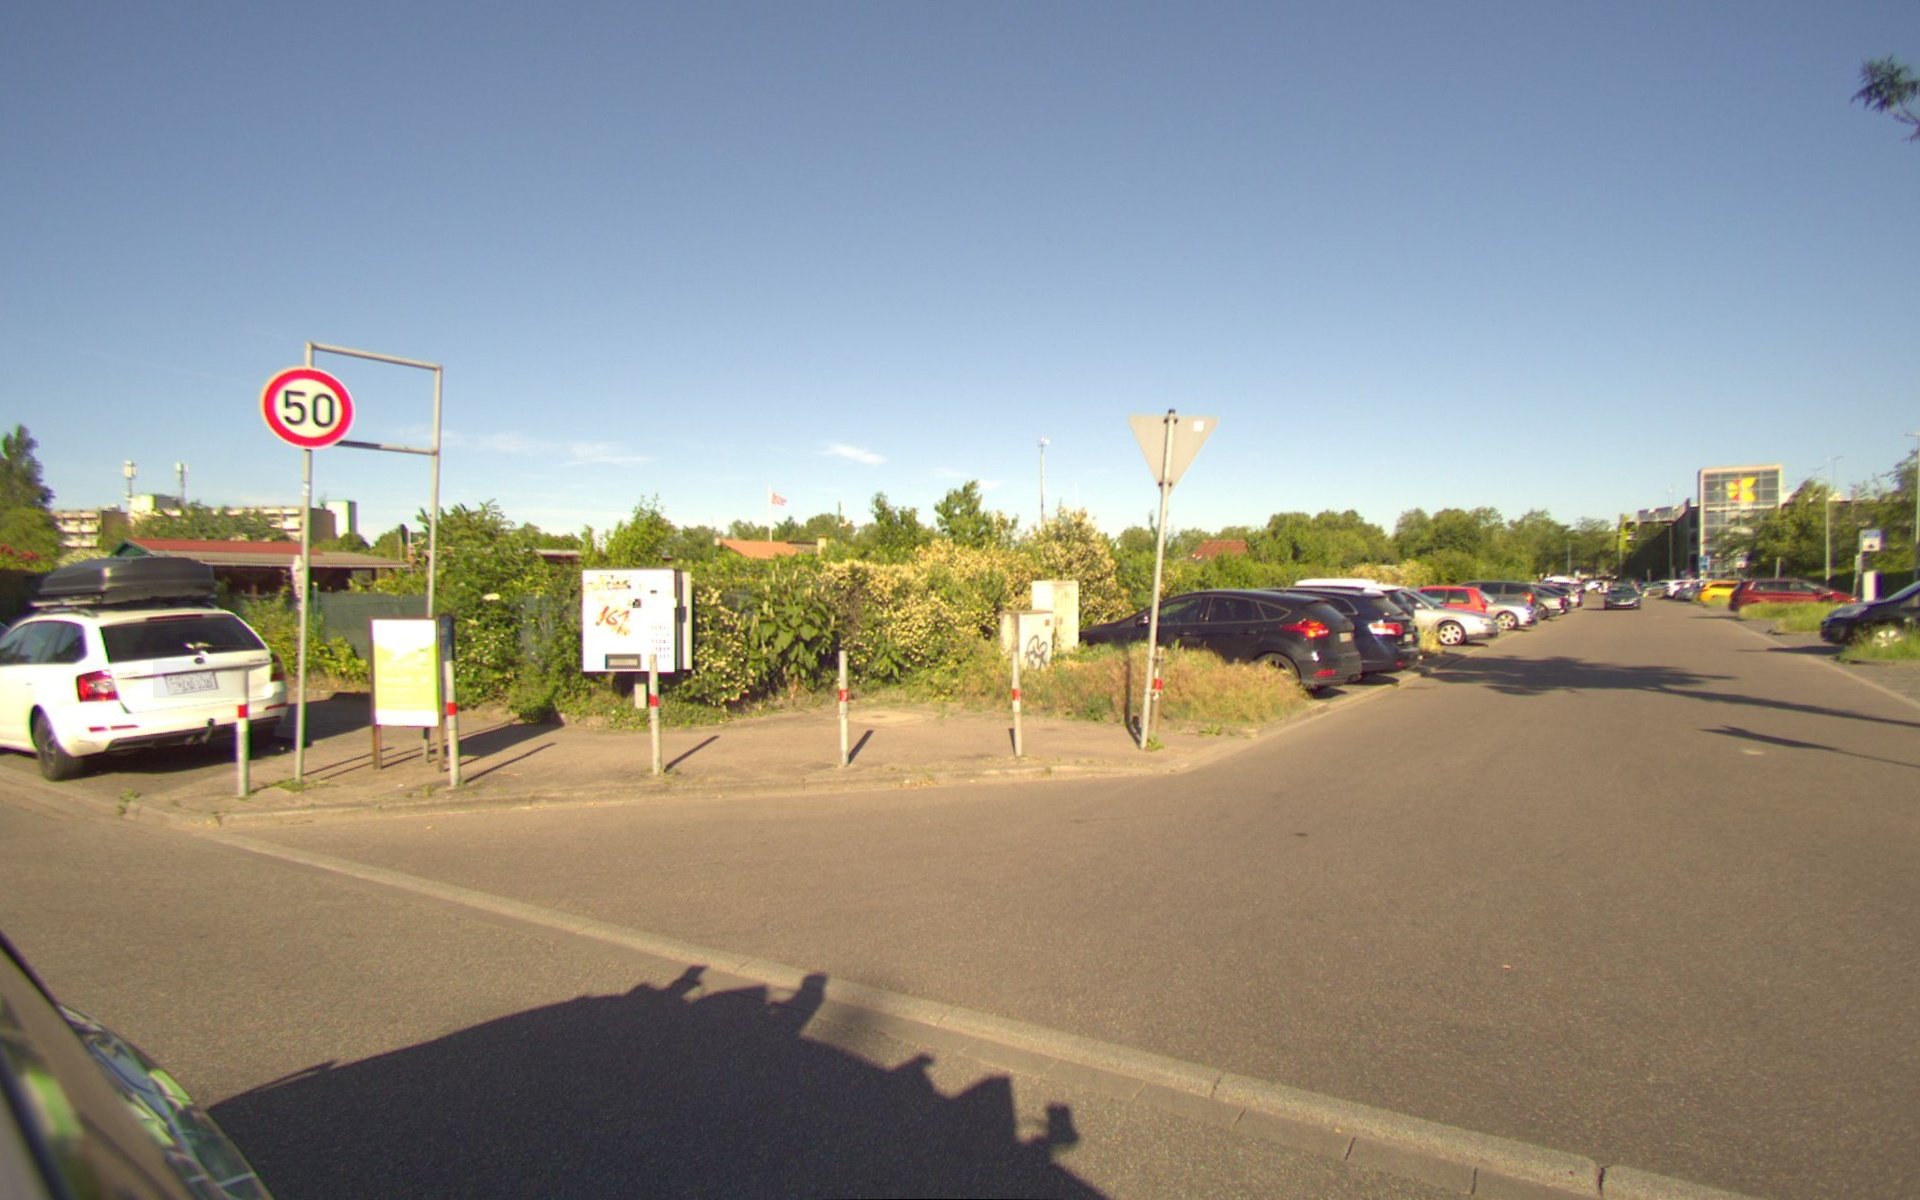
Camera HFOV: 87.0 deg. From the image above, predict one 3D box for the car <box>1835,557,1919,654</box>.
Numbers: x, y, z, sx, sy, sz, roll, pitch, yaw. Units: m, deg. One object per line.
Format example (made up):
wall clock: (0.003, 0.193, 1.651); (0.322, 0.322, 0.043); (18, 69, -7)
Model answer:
car: (19.121, 0.084, 18.909); (4.099, 1.803, 1.491); (-1, 0, 39)

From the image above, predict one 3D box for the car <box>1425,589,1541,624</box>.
car: (20.084, 0.262, 38.908); (3.834, 1.273, 1.494); (-1, -2, 32)

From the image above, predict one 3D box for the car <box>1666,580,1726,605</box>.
car: (62.770, -0.661, 86.381); (3.989, 2.029, 1.977); (-1, 0, 34)

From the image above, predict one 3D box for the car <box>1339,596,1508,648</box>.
car: (12.038, 0.567, 26.353); (3.834, 1.273, 1.494); (-1, -2, 32)

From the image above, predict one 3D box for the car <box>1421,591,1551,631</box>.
car: (17.954, 0.373, 34.613); (3.834, 1.273, 1.494); (-1, 0, 32)

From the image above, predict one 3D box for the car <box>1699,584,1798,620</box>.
car: (45.194, 0.113, 58.083); (4.388, 1.954, 1.974); (-1, 0, 39)

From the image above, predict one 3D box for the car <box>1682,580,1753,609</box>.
car: (54.958, -0.375, 73.489); (3.989, 2.029, 1.977); (-1, 0, 34)

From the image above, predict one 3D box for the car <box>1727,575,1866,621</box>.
car: (32.855, -0.052, 39.891); (3.989, 1.714, 1.977); (-1, 0, 34)

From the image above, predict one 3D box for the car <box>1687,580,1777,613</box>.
car: (49.036, -0.227, 64.377); (4.381, 2.029, 1.977); (-1, 0, 34)

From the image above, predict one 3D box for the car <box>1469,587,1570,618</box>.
car: (24.607, 0.134, 44.539); (3.834, 1.273, 1.494); (-1, -2, 32)

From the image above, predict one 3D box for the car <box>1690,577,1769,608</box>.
car: (51.290, -0.485, 67.545); (3.989, 2.029, 1.977); (-1, 0, 34)

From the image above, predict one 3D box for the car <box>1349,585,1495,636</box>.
car: (14.231, 0.315, 31.273); (3.842, 1.496, 1.491); (-1, 0, 39)

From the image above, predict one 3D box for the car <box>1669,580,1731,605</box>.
car: (61.235, -0.604, 83.788); (3.989, 2.029, 1.977); (-1, 0, 34)

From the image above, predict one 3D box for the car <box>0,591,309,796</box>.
car: (-8.407, 0.773, 9.907); (4.504, 1.524, 1.683); (-1, 3, 33)

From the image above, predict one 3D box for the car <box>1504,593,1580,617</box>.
car: (32.911, 0.299, 57.275); (3.676, 1.273, 1.494); (-1, -2, 32)

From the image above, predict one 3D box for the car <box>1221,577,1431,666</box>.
car: (7.584, 0.423, 21.164); (3.842, 1.707, 1.491); (-1, 0, 39)

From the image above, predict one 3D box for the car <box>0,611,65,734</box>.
car: (-13.786, 0.954, 13.411); (4.529, 1.456, 1.733); (-1, 3, 34)

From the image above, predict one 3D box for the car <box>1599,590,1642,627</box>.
car: (38.426, 0.470, 58.898); (1.995, 2.029, 3.955); (-1, 0, 33)
